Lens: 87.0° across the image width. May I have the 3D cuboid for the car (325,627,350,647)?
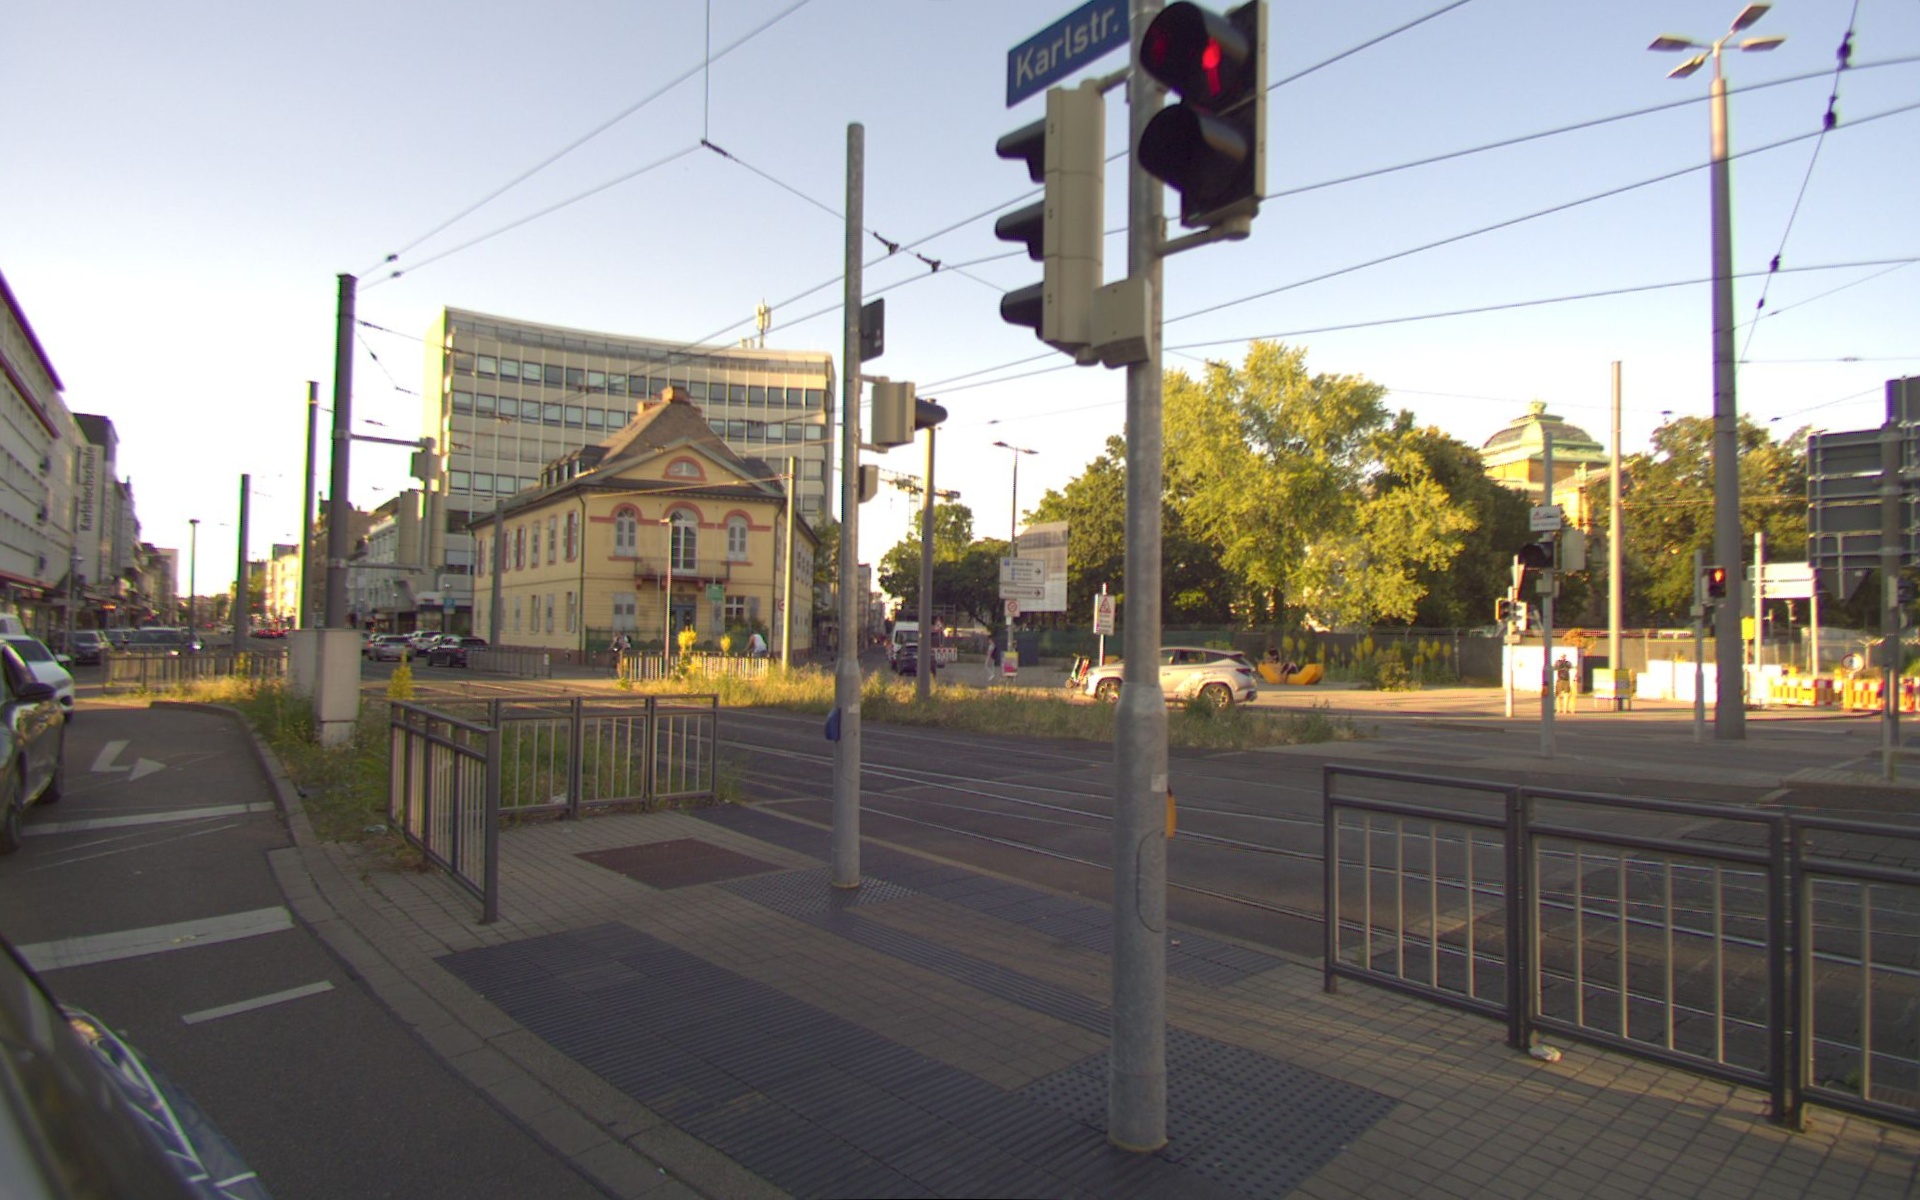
[{"bbox_3d":[-61.710,3.641,100.319,1.966,1.962,4.011,2,-3,-32],"label":"car"}]

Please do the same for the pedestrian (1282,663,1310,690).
[{"bbox_3d":[14.912,3.389,44.880,0.974,1.166,0.736,3,-4,-36],"label":"pedestrian"}]

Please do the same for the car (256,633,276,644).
[{"bbox_3d":[-102.415,5.638,149.304,1.821,1.519,4.005,3,-4,-42],"label":"car"}]

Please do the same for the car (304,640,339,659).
[{"bbox_3d":[-51.683,3.954,81.903,1.986,1.439,4.666,2,-3,-37],"label":"car"}]

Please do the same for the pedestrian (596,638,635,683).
[{"bbox_3d":[-12.082,2.117,35.517,1.030,1.514,1.005,1,-3,0],"label":"pedestrian"}]

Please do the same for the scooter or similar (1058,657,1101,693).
[{"bbox_3d":[4.330,2.713,36.635,1.507,1.269,0.611,1,-3,5],"label":"scooter or similar"}]

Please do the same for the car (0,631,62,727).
[{"bbox_3d":[-17.397,1.323,17.915,4.563,1.460,1.791,0,-2,43],"label":"car"}]

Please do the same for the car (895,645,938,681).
[{"bbox_3d":[-2.054,2.902,46.962,1.757,1.555,4.295,2,-3,-5],"label":"car"}]

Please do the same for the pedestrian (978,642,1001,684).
[{"bbox_3d":[1.234,2.644,42.548,0.867,1.737,0.829,2,-3,1],"label":"pedestrian"}]

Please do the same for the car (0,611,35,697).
[{"bbox_3d":[-22.194,1.186,22.245,1.967,1.852,4.888,2,-4,-34],"label":"car"}]

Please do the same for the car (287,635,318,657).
[{"bbox_3d":[-62.992,4.405,96.926,1.968,2.005,4.127,3,-3,-39],"label":"car"}]

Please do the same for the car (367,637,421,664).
[{"bbox_3d":[-31.518,2.779,56.267,1.885,1.421,4.346,3,-3,-39],"label":"car"}]

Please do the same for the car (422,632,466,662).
[{"bbox_3d":[-31.838,2.886,62.407,1.710,1.721,3.445,3,-3,-39],"label":"car"}]

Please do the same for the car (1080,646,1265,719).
[{"bbox_3d":[5.521,2.081,26.188,4.500,1.673,1.937,0,-3,19],"label":"car"}]

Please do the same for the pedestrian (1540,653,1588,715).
[{"bbox_3d":[17.700,2.448,29.687,0.933,1.749,0.820,1,-3,7],"label":"pedestrian"}]

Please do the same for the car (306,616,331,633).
[{"bbox_3d":[-80.529,3.081,127.005,1.969,2.029,4.005,0,-1,-42],"label":"car"}]

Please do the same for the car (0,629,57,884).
[{"bbox_3d":[-7.837,0.951,7.287,1.887,1.515,4.708,3,-3,-41],"label":"car"}]

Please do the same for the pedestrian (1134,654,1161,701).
[{"bbox_3d":[6.567,2.703,35.482,0.678,1.626,0.598,3,-3,-33],"label":"pedestrian"}]

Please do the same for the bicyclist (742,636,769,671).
[{"bbox_3d":[-7.576,1.985,37.497,0.723,1.267,0.664,0,-3,18],"label":"bicyclist"}]

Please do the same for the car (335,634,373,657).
[{"bbox_3d":[-42.257,3.165,70.564,1.810,1.610,4.081,2,-3,-37],"label":"car"}]

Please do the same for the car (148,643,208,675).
[{"bbox_3d":[-38.852,2.913,50.396,2.006,1.452,4.673,3,-3,-34],"label":"car"}]

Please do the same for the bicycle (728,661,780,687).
[{"bbox_3d":[-7.631,2.725,37.467,1.782,0.899,0.676,0,-3,18],"label":"bicycle"}]

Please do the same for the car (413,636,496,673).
[{"bbox_3d":[-23.597,2.502,47.190,4.412,1.528,1.973,-1,-1,41],"label":"car"}]

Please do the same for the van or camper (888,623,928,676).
[{"bbox_3d":[-2.911,2.833,57.605,2.054,2.796,6.452,1,-3,-2],"label":"van or camper"}]

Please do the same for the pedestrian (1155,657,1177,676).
[{"bbox_3d":[10.645,3.430,52.245,0.979,0.900,0.555,-1,-3,34],"label":"pedestrian"}]

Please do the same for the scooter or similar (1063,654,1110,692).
[{"bbox_3d":[4.476,2.586,35.903,1.632,1.302,0.460,1,-3,5],"label":"scooter or similar"}]

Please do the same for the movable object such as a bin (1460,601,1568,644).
[{"bbox_3d":[27.701,1.182,50.855,1.967,2.029,5.035,1,-3,-11],"label":"movable object such as a bin"}]

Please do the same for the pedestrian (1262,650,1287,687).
[{"bbox_3d":[14.437,3.147,46.461,0.809,1.678,0.766,3,-3,-35],"label":"pedestrian"}]

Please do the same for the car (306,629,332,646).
[{"bbox_3d":[-76.750,4.503,121.123,1.969,1.963,4.006,3,-4,-40],"label":"car"}]

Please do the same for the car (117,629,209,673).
[{"bbox_3d":[-30.619,1.935,39.014,1.965,1.586,4.316,2,-2,-28],"label":"car"}]

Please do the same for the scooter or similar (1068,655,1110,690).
[{"bbox_3d":[4.513,2.535,35.434,1.386,1.175,0.461,1,-3,4],"label":"scooter or similar"}]

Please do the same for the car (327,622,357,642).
[{"bbox_3d":[-64.586,3.355,105.774,1.969,1.962,4.006,3,-3,-40],"label":"car"}]

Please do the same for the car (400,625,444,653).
[{"bbox_3d":[-35.182,2.526,66.150,1.710,1.721,3.812,5,-4,-39],"label":"car"}]
